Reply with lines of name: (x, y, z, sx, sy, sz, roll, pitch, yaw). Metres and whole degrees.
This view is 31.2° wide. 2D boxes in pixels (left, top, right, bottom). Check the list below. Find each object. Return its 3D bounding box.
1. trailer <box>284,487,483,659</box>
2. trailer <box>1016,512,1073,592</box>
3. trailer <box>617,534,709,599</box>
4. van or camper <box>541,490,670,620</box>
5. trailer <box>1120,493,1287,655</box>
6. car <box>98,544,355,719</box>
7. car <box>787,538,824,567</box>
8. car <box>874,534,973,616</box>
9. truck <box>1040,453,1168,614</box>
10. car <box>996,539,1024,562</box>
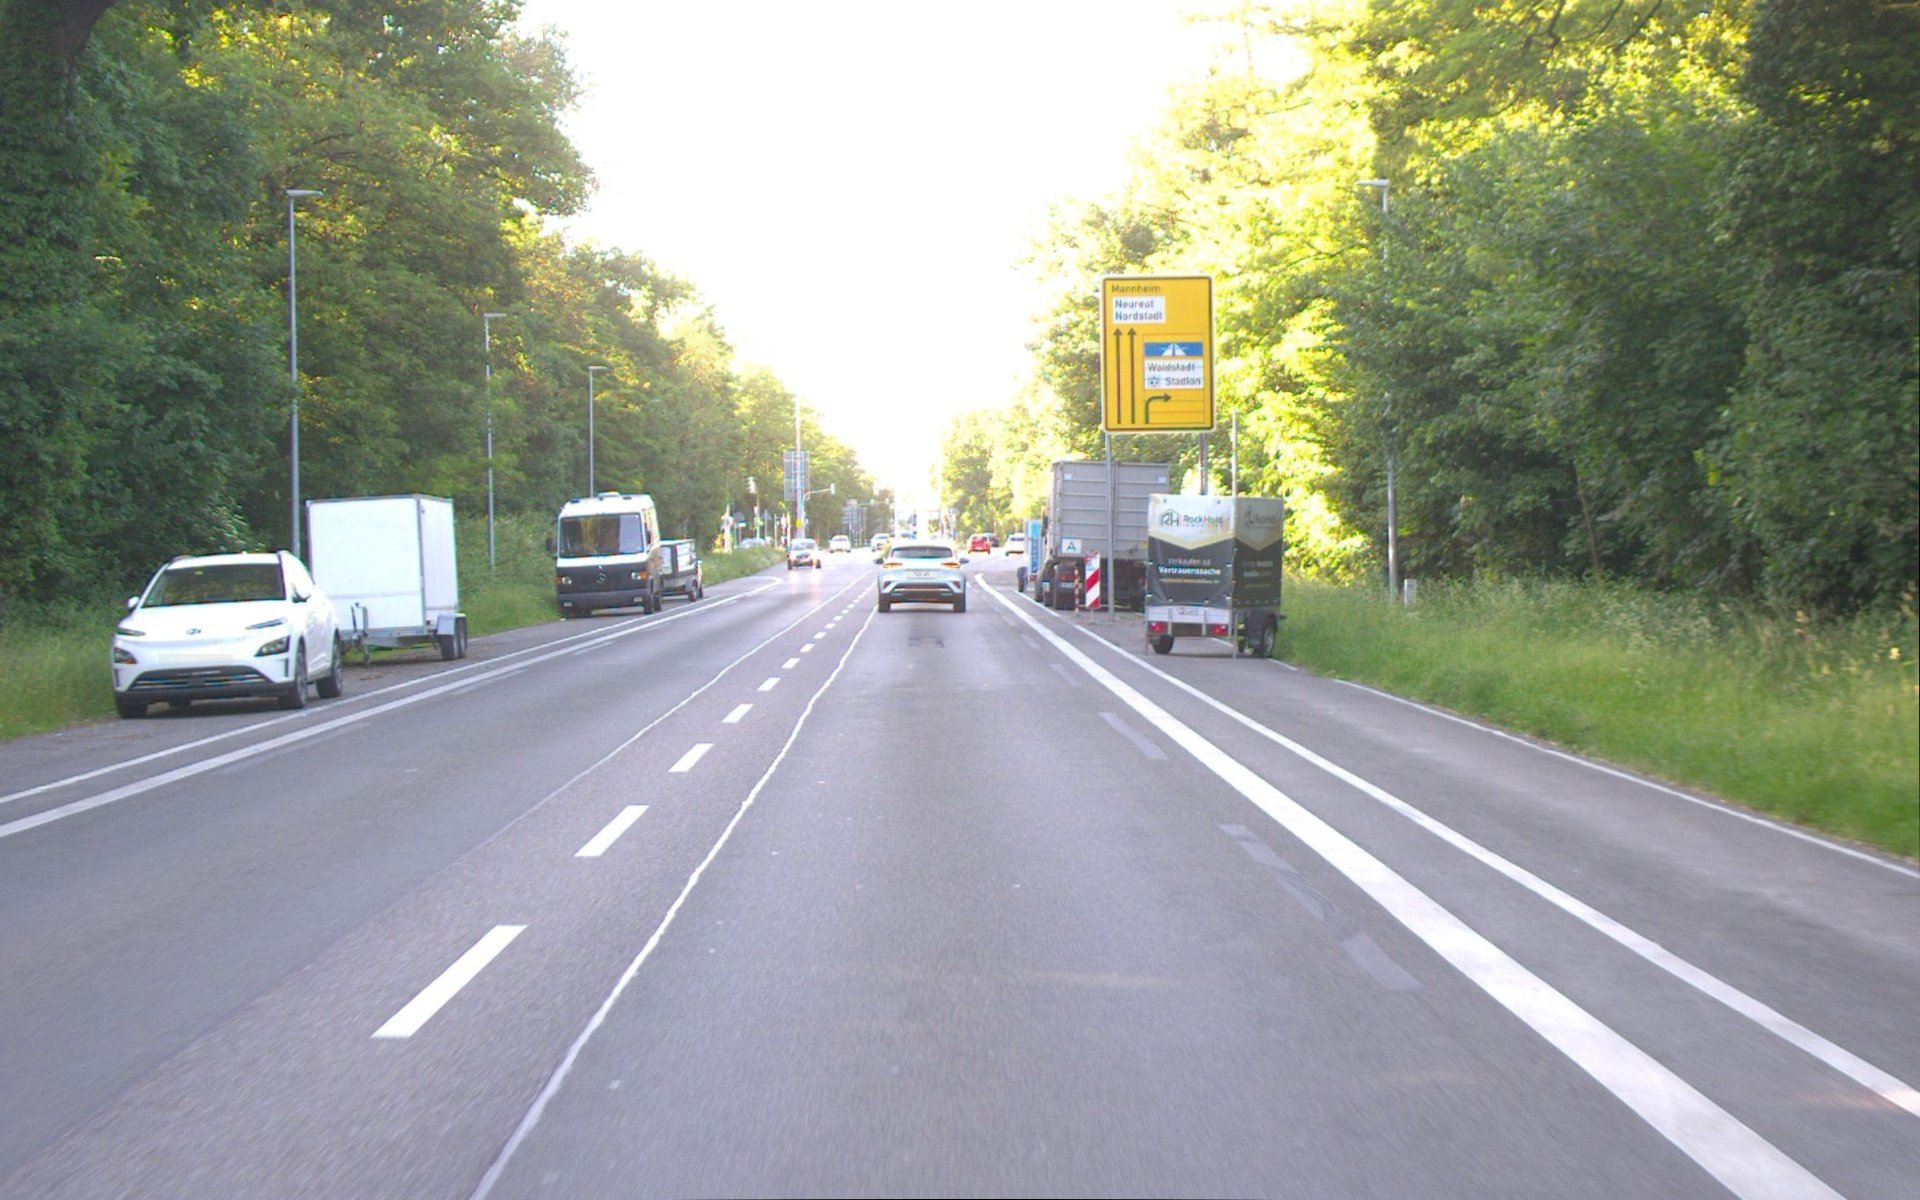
trailer: (-8.059, -0.398, 48.365, 2.075, 2.285, 3.486, -1, 1, 1)
trailer: (2.422, -1.398, 99.252, 1.500, 2.228, 4.550, 1, 1, 0)
trailer: (-7.960, -0.919, 92.490, 1.471, 1.654, 3.364, -2, 0, 12)
van or camper: (-8.091, -1.049, 79.015, 2.302, 2.758, 5.557, -3, 1, 0)
trailer: (3.283, -0.360, 46.076, 1.616, 2.105, 2.394, 1, 1, 20)
car: (-7.361, 0.269, 34.893, 1.814, 1.566, 4.207, -3, 1, -3)
car: (-7.875, -2.438, 174.979, 1.678, 1.411, 4.000, -1, 1, 0)
car: (-0.761, -0.539, 71.947, 1.993, 1.634, 4.000, -1, 1, -1)
truck: (3.117, -1.448, 75.942, 2.505, 3.355, 7.107, 0, 1, 0)
car: (3.582, -3.574, 246.854, 1.993, 1.612, 4.000, 1, 1, 0)
